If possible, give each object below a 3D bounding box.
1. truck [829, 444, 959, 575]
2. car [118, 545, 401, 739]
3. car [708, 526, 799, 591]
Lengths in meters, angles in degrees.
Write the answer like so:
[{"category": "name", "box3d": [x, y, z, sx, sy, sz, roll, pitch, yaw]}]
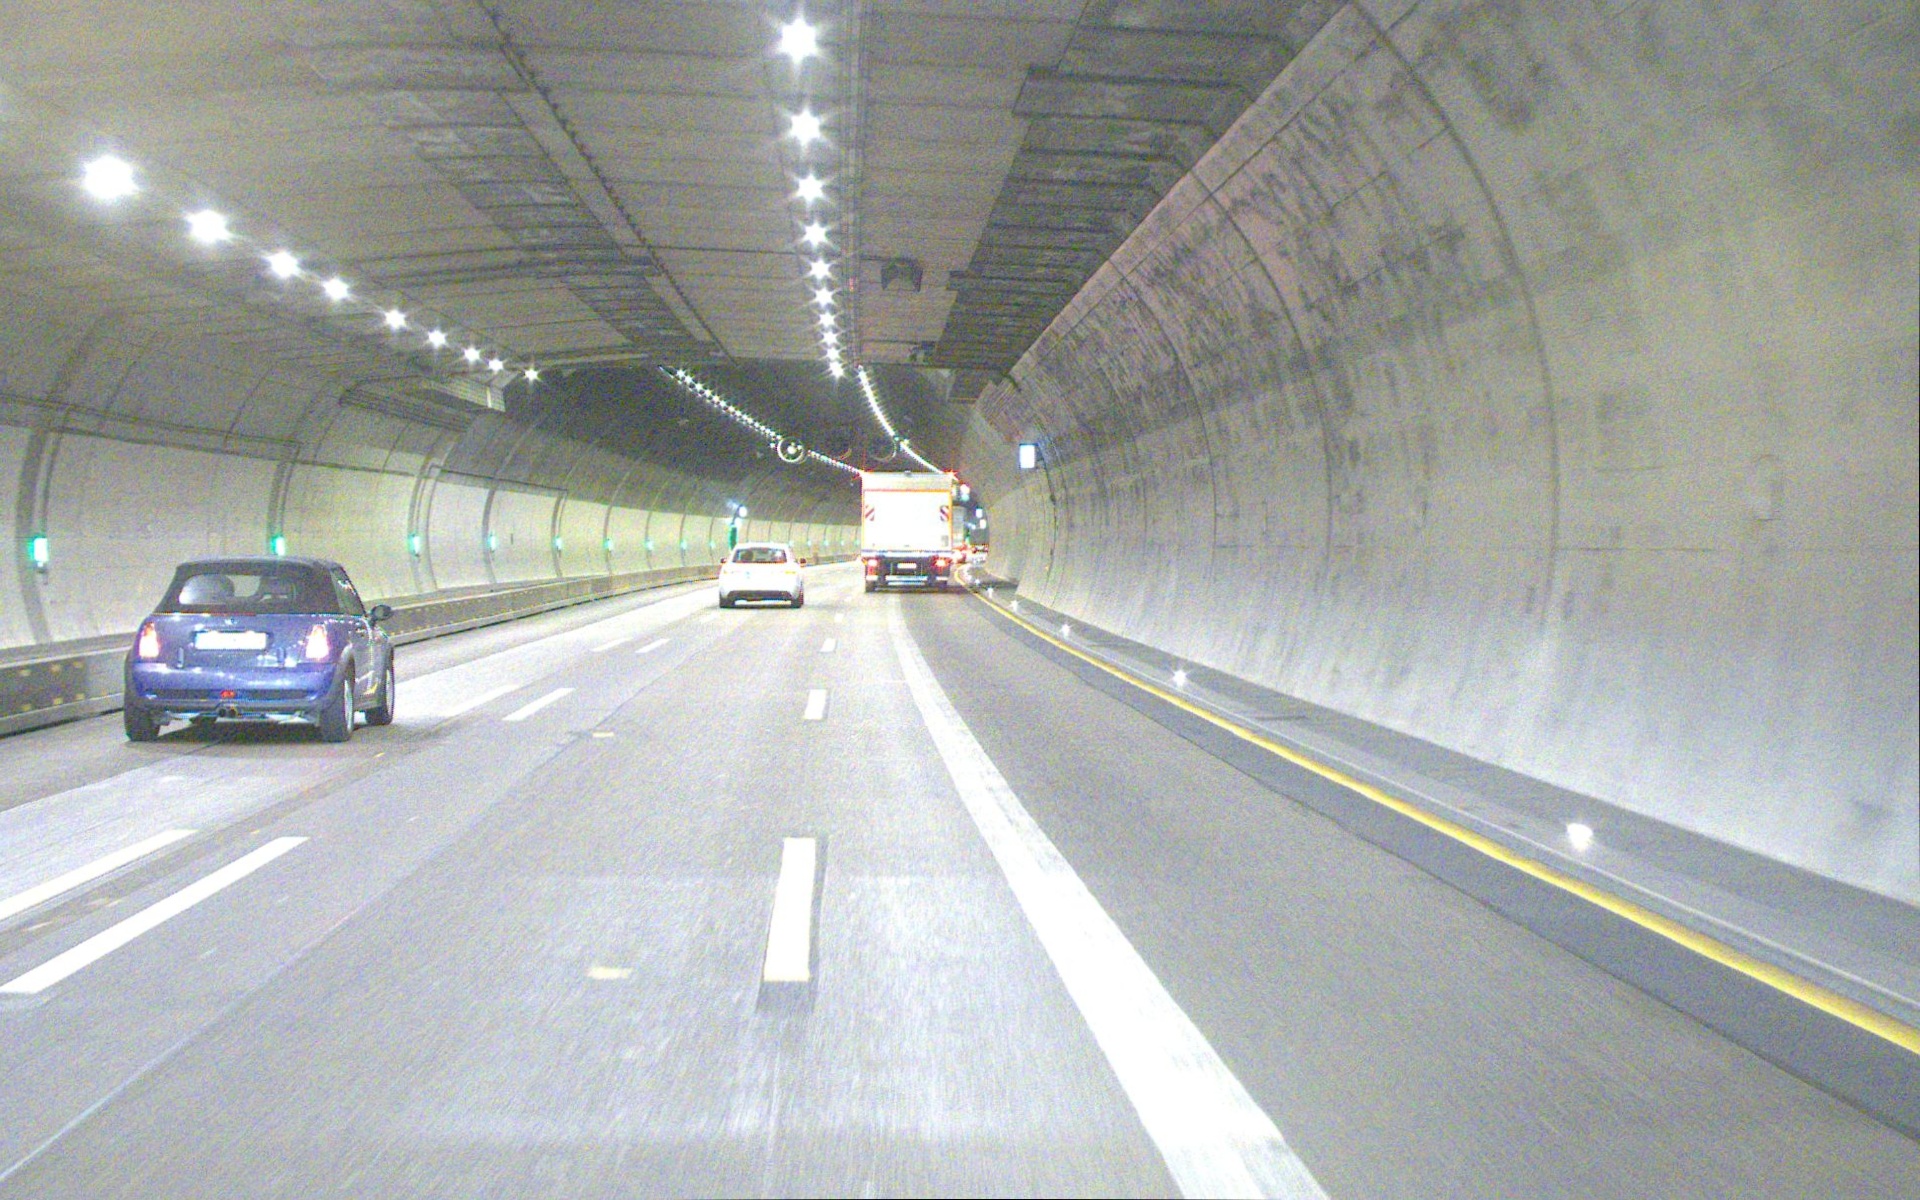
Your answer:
[{"category": "truck", "box3d": [-1.871, -2.633, 101.015, 3.592, 3.638, 10.723, 0, 1, 0]}, {"category": "car", "box3d": [-5.505, 0.282, 27.417, 1.689, 1.412, 3.924, 0, 1, -4]}, {"category": "car", "box3d": [-4.694, -0.957, 77.972, 1.993, 1.408, 4.743, 0, 1, -4]}]
